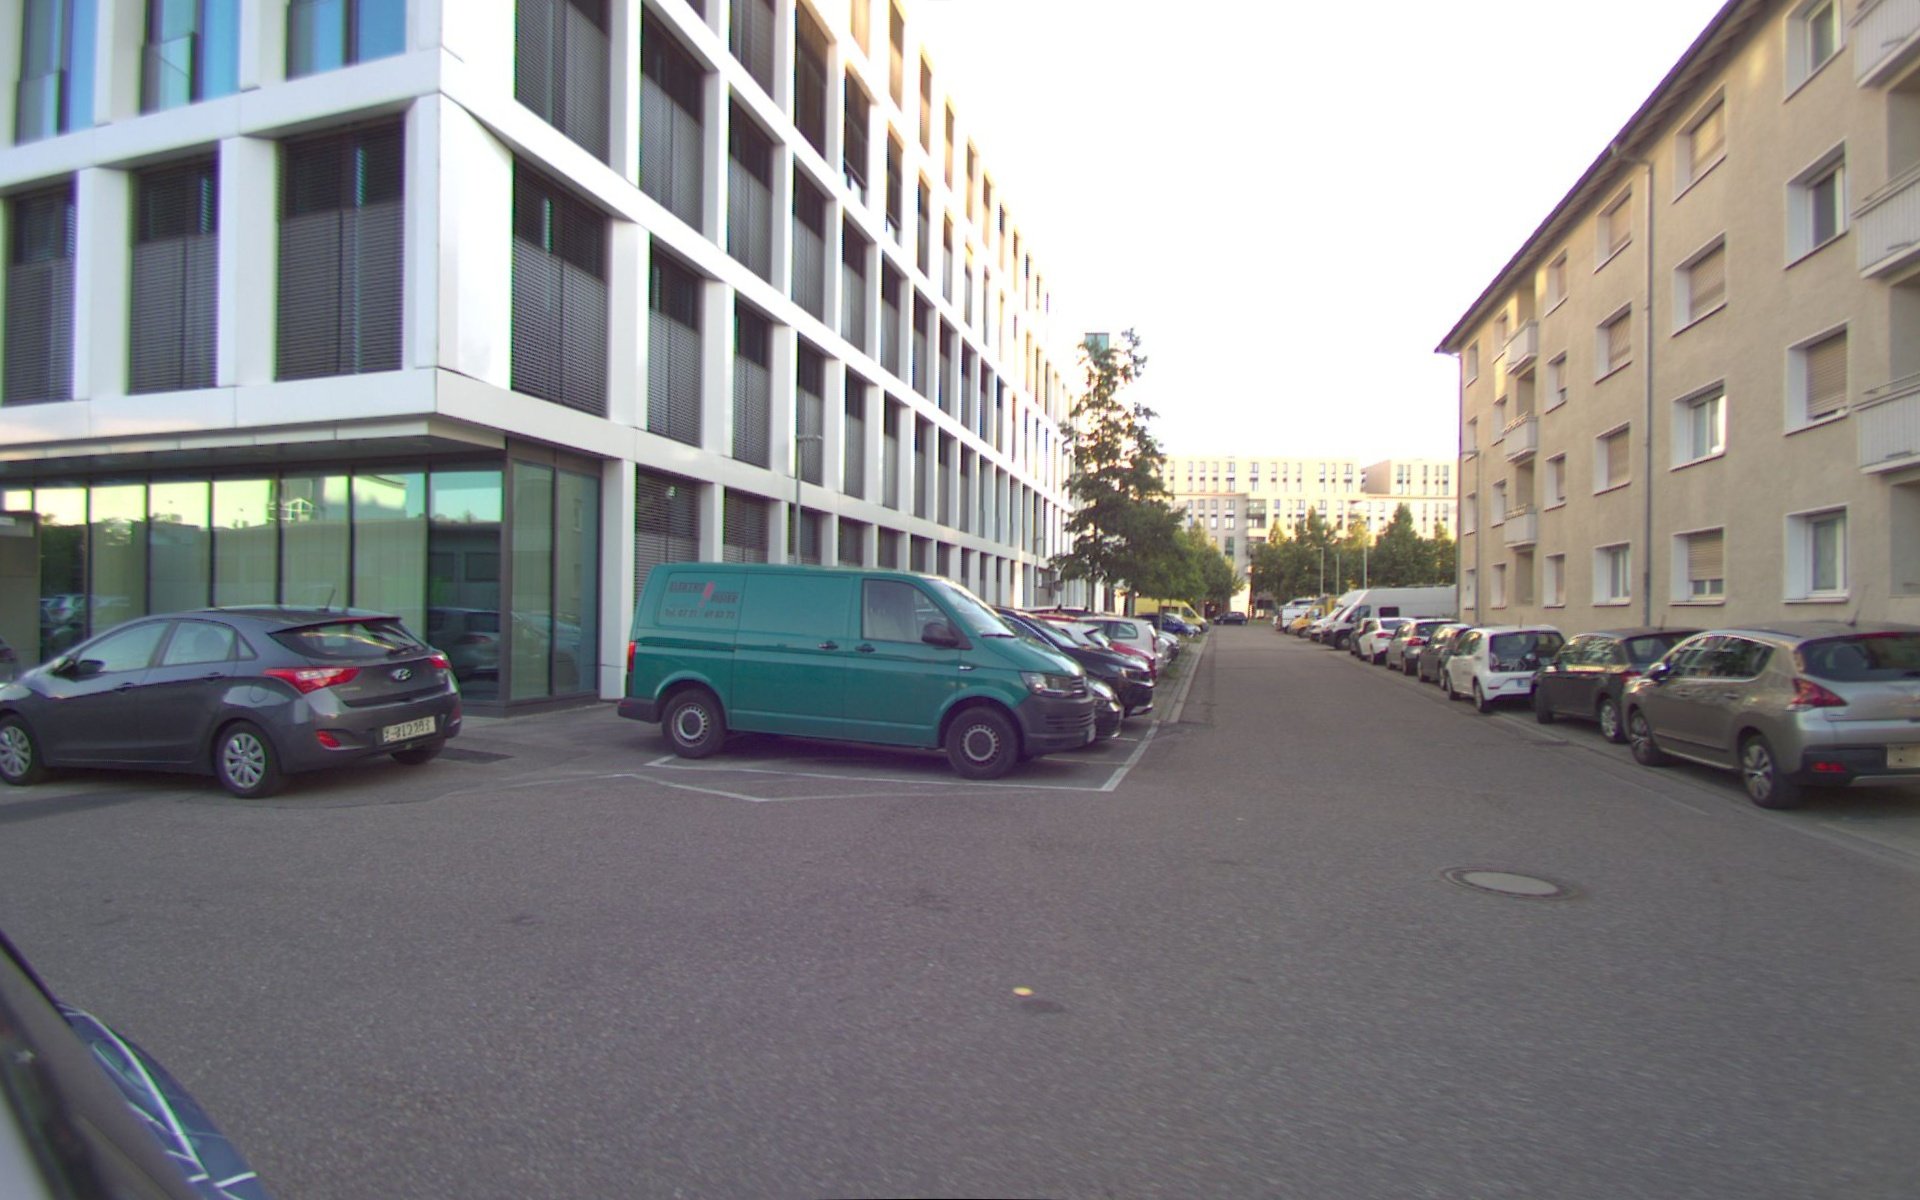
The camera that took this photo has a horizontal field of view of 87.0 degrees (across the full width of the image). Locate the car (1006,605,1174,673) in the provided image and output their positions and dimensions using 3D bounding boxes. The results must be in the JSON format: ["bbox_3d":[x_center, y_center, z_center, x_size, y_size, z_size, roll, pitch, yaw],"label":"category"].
[{"bbox_3d":[3.670,1.040,28.398,4.425,1.624,1.726,2,0,16],"label":"car"}]

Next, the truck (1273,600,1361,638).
[{"bbox_3d":[27.048,1.443,76.908,5.943,2.517,2.328,-4,-2,14],"label":"truck"}]

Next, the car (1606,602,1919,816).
[{"bbox_3d":[8.210,0.895,9.894,1.862,1.630,4.002,-4,-2,14],"label":"car"}]

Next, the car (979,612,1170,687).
[{"bbox_3d":[2.680,1.100,23.518,4.162,1.467,1.726,2,0,16],"label":"car"}]

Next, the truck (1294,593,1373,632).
[{"bbox_3d":[31.789,1.108,86.373,5.943,2.867,2.328,-4,-2,14],"label":"truck"}]

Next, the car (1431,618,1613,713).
[{"bbox_3d":[10.280,1.143,18.854,1.862,1.495,3.931,-4,-2,14],"label":"car"}]

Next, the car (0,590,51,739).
[{"bbox_3d":[-11.850,0.679,10.358,4.143,1.490,1.709,0,3,13],"label":"car"}]

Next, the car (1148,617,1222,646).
[{"bbox_3d":[13.484,1.868,60.551,4.186,1.521,1.726,2,0,16],"label":"car"}]

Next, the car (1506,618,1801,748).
[{"bbox_3d":[9.635,1.080,14.529,1.860,1.512,4.008,-4,-2,9],"label":"car"}]

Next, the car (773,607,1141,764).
[{"bbox_3d":[0.008,0.967,12.761,4.292,1.561,1.776,2,0,16],"label":"car"}]

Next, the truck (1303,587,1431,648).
[{"bbox_3d":[21.874,0.986,54.746,5.943,2.867,2.328,-4,-2,14],"label":"truck"}]

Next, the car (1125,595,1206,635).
[{"bbox_3d":[14.520,1.068,71.532,5.461,2.554,1.728,2,0,13],"label":"car"}]

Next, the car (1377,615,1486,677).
[{"bbox_3d":[12.903,1.213,27.940,1.862,1.495,3.931,-4,-2,14],"label":"car"}]

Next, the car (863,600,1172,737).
[{"bbox_3d":[0.890,0.932,15.095,4.292,1.672,1.726,2,0,16],"label":"car"}]

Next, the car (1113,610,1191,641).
[{"bbox_3d":[10.829,1.392,57.085,4.186,1.521,1.726,2,0,16],"label":"car"}]

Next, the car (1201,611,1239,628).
[{"bbox_3d":[44.306,3.280,172.406,5.922,2.867,2.336,1,-1,3],"label":"car"}]

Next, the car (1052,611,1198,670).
[{"bbox_3d":[5.056,1.193,30.829,4.186,1.521,1.726,2,0,16],"label":"car"}]

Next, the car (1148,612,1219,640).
[{"bbox_3d":[13.963,1.595,63.218,4.186,1.521,1.726,2,0,16],"label":"car"}]

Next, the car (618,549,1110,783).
[{"bbox_3d":[-0.923,0.554,10.322,4.646,1.994,1.794,1,-1,16],"label":"car"}]

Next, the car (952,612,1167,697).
[{"bbox_3d":[2.094,1.070,20.996,4.162,1.467,1.726,2,0,16],"label":"car"}]

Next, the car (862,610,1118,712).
[{"bbox_3d":[0.559,0.999,17.730,4.162,1.467,1.726,2,0,16],"label":"car"}]

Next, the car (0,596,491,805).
[{"bbox_3d":[-6.489,0.724,8.800,4.292,1.490,1.776,0,1,16],"label":"car"}]

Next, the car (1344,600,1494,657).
[{"bbox_3d":[18.191,1.140,40.369,4.954,1.928,2.328,-4,-2,14],"label":"car"}]

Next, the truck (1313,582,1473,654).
[{"bbox_3d":[18.869,0.813,44.433,5.943,2.743,2.328,-4,-2,14],"label":"truck"}]

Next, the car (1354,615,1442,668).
[{"bbox_3d":[14.008,1.299,32.595,1.862,1.495,3.931,-4,-2,14],"label":"car"}]

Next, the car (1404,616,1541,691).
[{"bbox_3d":[11.699,1.176,23.378,1.862,1.495,3.931,-4,-2,14],"label":"car"}]

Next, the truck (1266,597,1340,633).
[{"bbox_3d":[31.009,1.376,91.646,5.943,2.867,2.328,-4,-2,14],"label":"truck"}]

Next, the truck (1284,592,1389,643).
[{"bbox_3d":[24.195,1.120,65.278,5.943,2.867,2.328,-4,-2,14],"label":"truck"}]
